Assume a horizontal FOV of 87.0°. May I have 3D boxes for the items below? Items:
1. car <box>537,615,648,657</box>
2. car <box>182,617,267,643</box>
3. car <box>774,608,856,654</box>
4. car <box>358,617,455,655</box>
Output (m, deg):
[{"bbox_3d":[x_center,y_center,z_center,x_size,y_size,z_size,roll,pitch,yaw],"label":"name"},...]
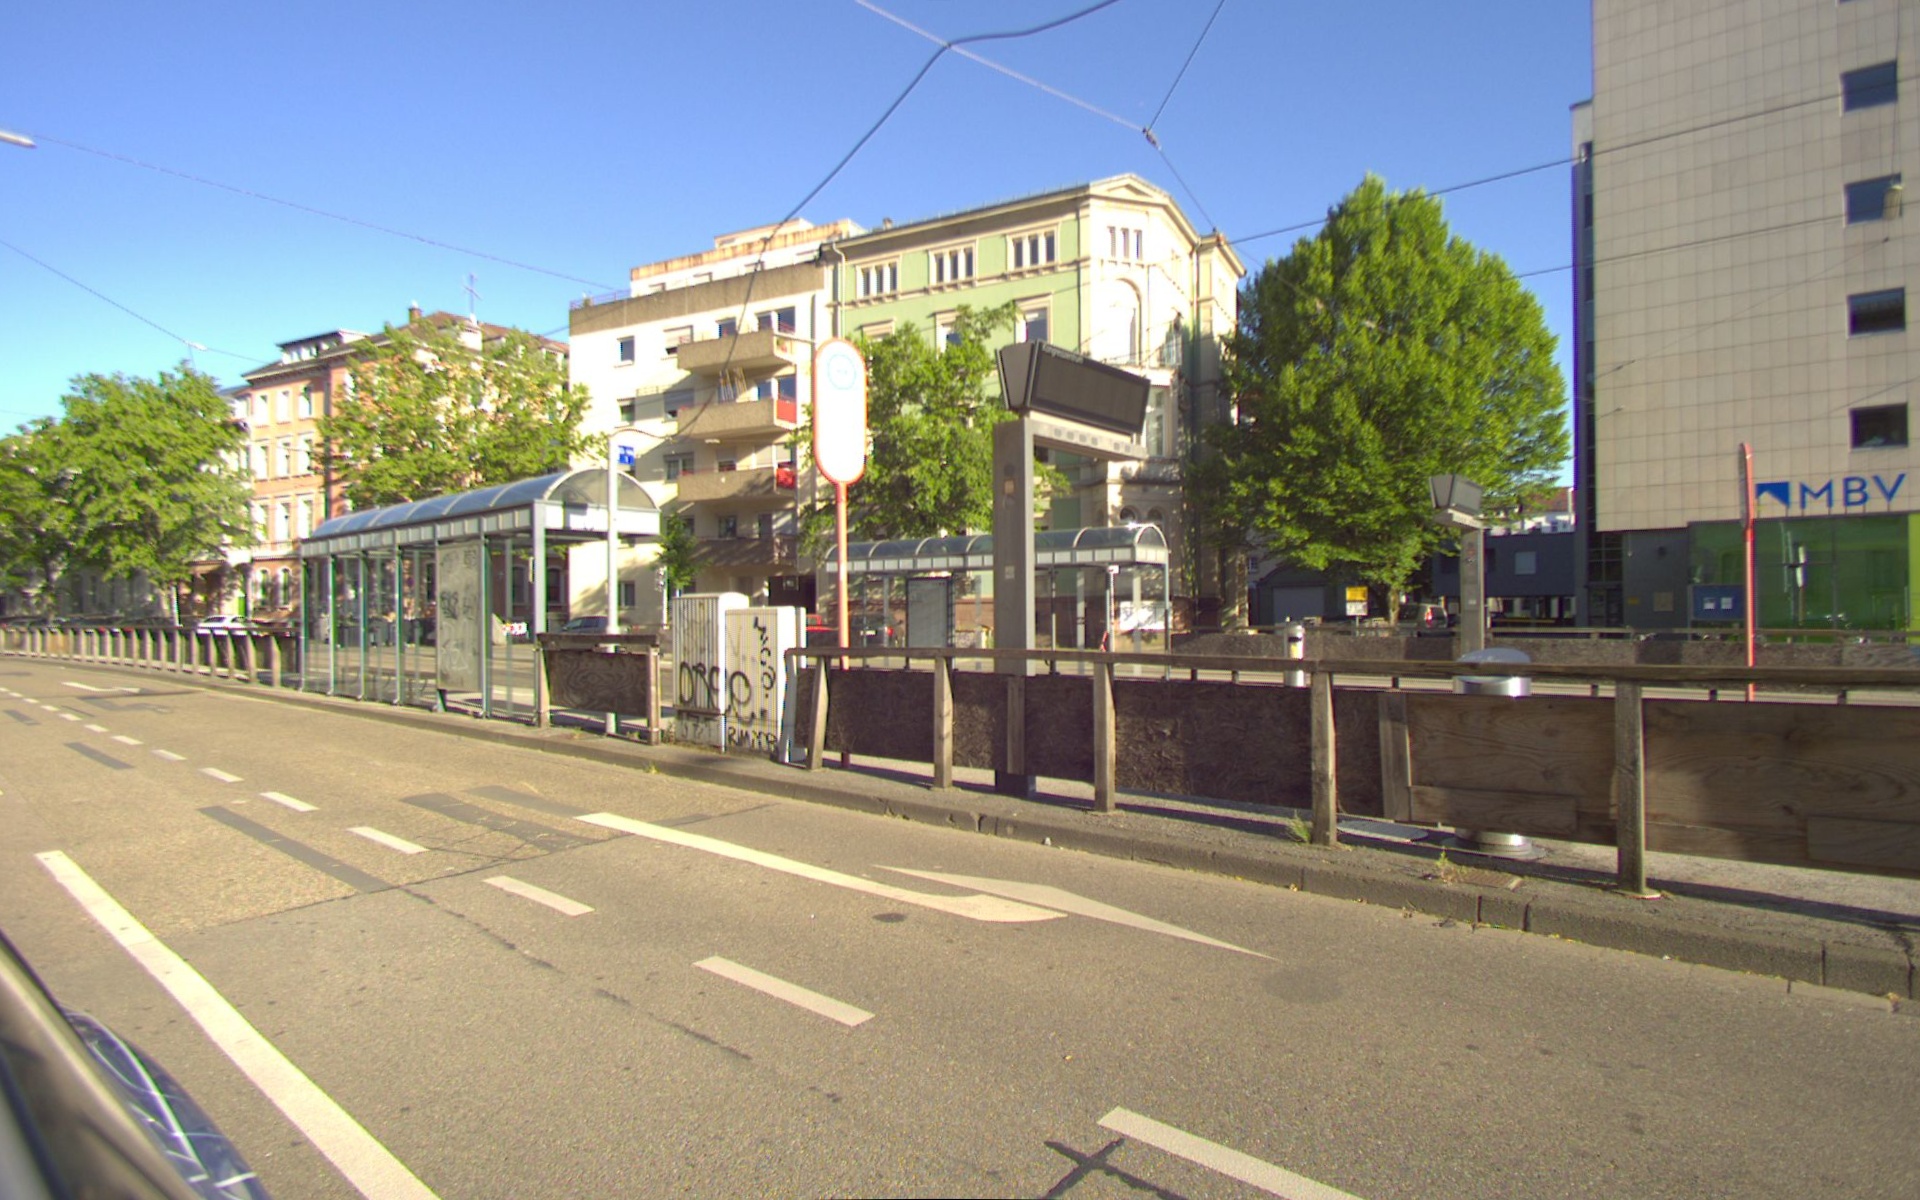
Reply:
[{"bbox_3d":[-14.074,1.381,38.725,3.987,1.542,1.978,-1,-3,32],"label":"car"},{"bbox_3d":[-39.233,1.580,54.075,1.565,1.360,3.631,0,-1,11],"label":"car"},{"bbox_3d":[-6.611,1.399,46.519,1.791,2.029,3.963,-1,-1,27],"label":"car"},{"bbox_3d":[-23.847,1.527,43.579,3.987,1.541,1.978,-1,-2,32],"label":"car"}]
